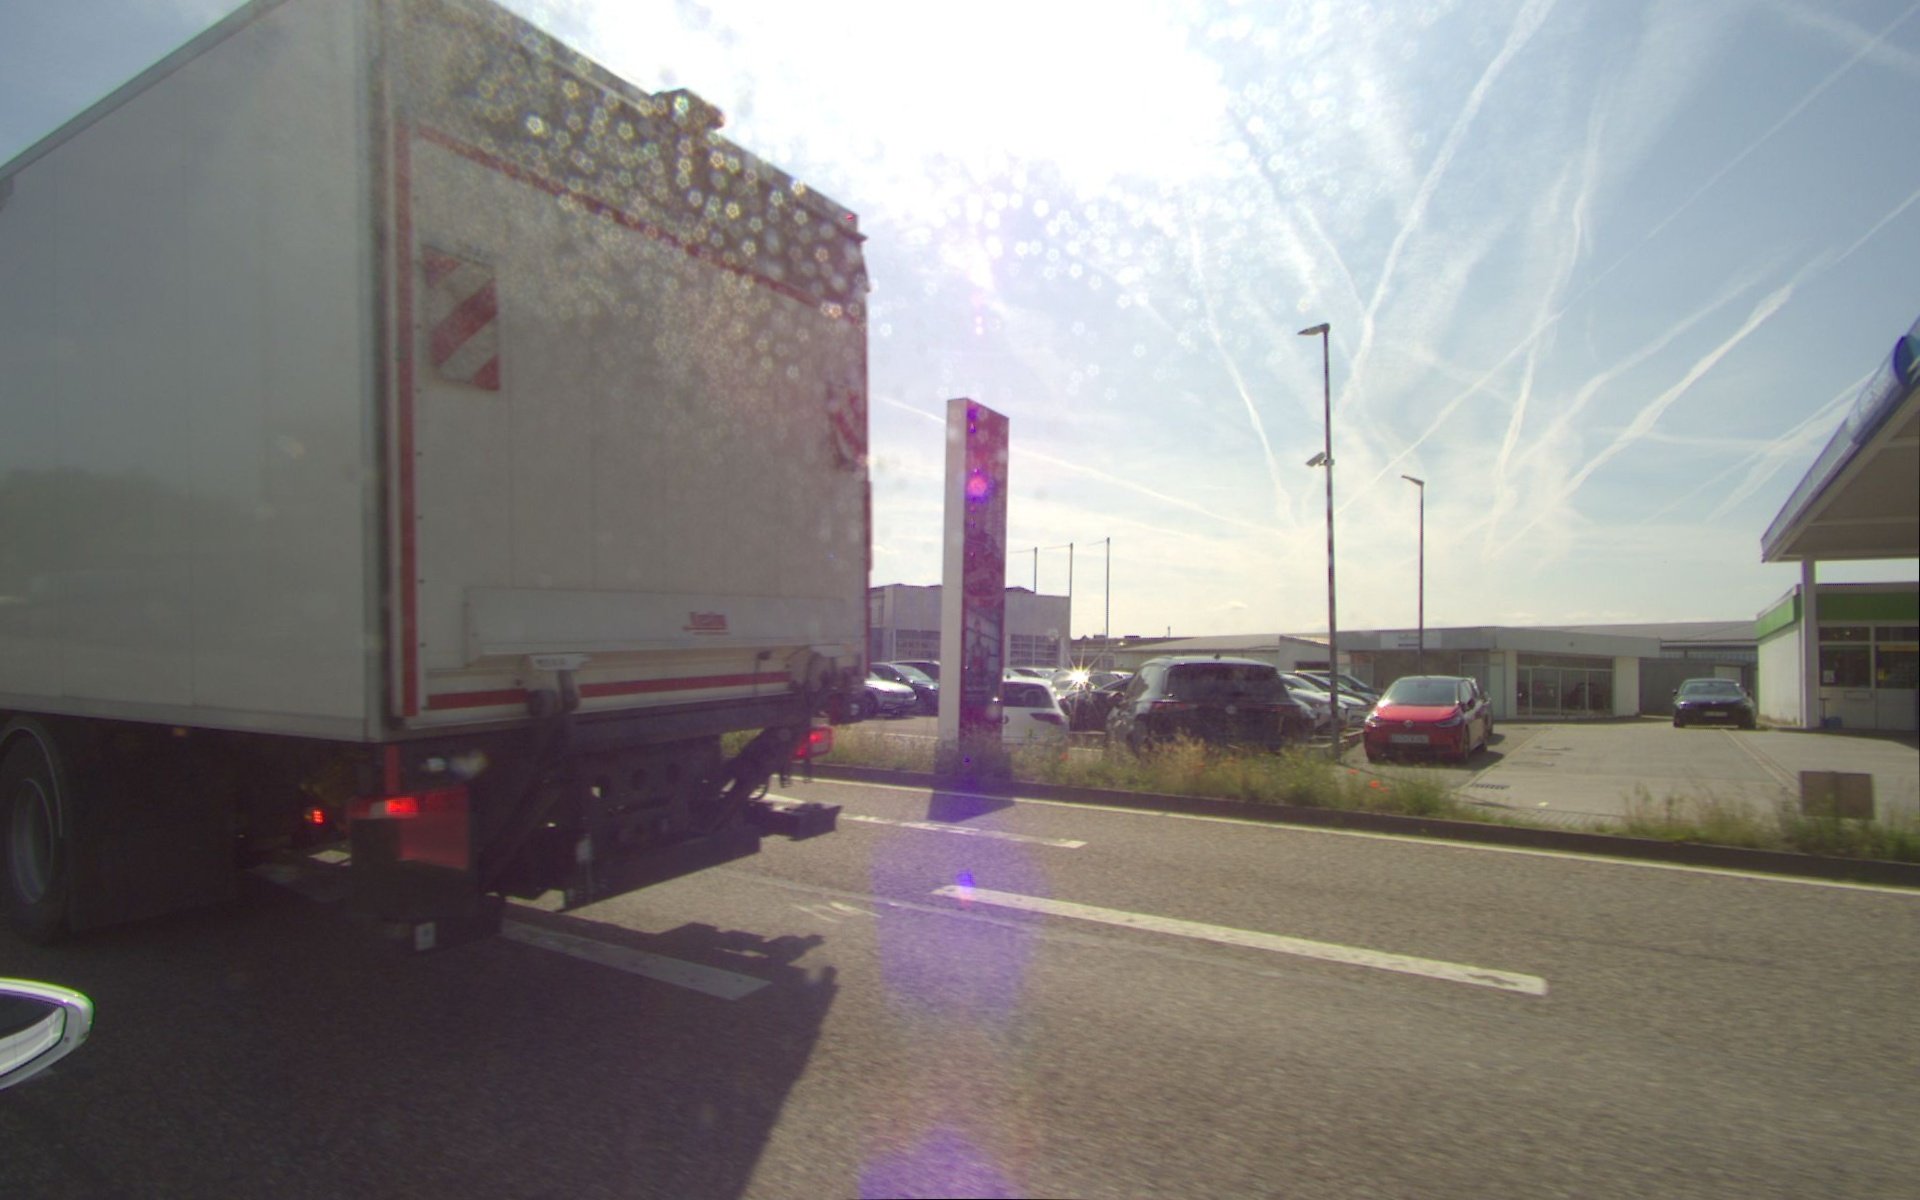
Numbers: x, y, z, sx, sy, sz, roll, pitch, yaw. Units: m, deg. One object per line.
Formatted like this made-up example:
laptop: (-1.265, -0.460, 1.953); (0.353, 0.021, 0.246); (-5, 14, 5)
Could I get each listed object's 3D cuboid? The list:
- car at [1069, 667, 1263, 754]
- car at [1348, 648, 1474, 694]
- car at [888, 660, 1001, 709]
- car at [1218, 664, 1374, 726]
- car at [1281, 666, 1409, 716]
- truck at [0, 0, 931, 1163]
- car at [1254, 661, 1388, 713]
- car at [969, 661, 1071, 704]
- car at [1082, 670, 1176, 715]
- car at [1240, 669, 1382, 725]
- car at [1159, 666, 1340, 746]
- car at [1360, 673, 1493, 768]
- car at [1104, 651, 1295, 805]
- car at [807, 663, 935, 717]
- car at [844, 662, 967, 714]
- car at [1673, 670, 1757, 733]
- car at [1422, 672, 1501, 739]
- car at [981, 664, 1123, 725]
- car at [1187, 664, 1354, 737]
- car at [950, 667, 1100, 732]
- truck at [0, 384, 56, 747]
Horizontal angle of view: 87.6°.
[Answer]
car: (4.437, 2.318, 21.701); (3.804, 1.615, 1.612); (-1, -2, 31)
car: (15.576, 2.402, 34.605); (3.804, 1.461, 1.705); (-1, -2, 31)
car: (-0.538, 2.747, 33.144); (3.645, 1.427, 1.552); (-1, -2, 40)
car: (9.163, 2.538, 27.344); (3.804, 1.461, 1.612); (-1, -2, 31)
car: (12.854, 2.993, 33.488); (3.804, 1.461, 1.705); (-1, -2, 31)
truck: (-5.607, -0.232, 6.929); (10.978, 3.858, 2.876); (-1, -3, 31)
car: (11.488, 2.739, 31.898); (3.804, 1.461, 1.705); (-1, -2, 31)
car: (2.207, 3.055, 37.497); (3.645, 1.427, 1.552); (-1, -2, 40)
car: (6.670, 3.631, 39.817); (1.544, 1.519, 3.664); (1, -2, -35)
car: (10.561, 2.887, 30.181); (3.804, 1.461, 1.705); (-1, -2, 31)
car: (6.730, 2.414, 23.369); (3.804, 1.615, 1.556); (-1, -2, 31)
car: (9.317, 2.292, 19.854); (1.782, 1.591, 3.895); (-1, -3, 35)
car: (2.614, 1.346, 11.649); (1.533, 1.427, 3.597); (0, -2, 3)
car: (-2.635, 2.618, 29.609); (3.542, 1.427, 1.556); (-1, -2, 31)
car: (-1.691, 2.685, 30.967); (3.541, 1.427, 1.557); (-1, -2, 29)
car: (21.784, 2.880, 29.012); (1.730, 1.657, 3.980); (-1, -4, 34)
car: (12.943, 2.641, 25.729); (1.540, 1.512, 4.326); (-1, -4, 30)
car: (2.478, 2.517, 27.210); (3.543, 1.445, 1.556); (-1, -2, 31)
car: (7.901, 2.502, 25.557); (3.804, 1.615, 1.612); (-1, -2, 31)
car: (1.648, 2.502, 25.752); (3.543, 1.445, 1.556); (-1, -2, 31)
truck: (-19.019, -0.386, 15.187); (16.459, 4.319, 2.888); (-1, -3, 30)
